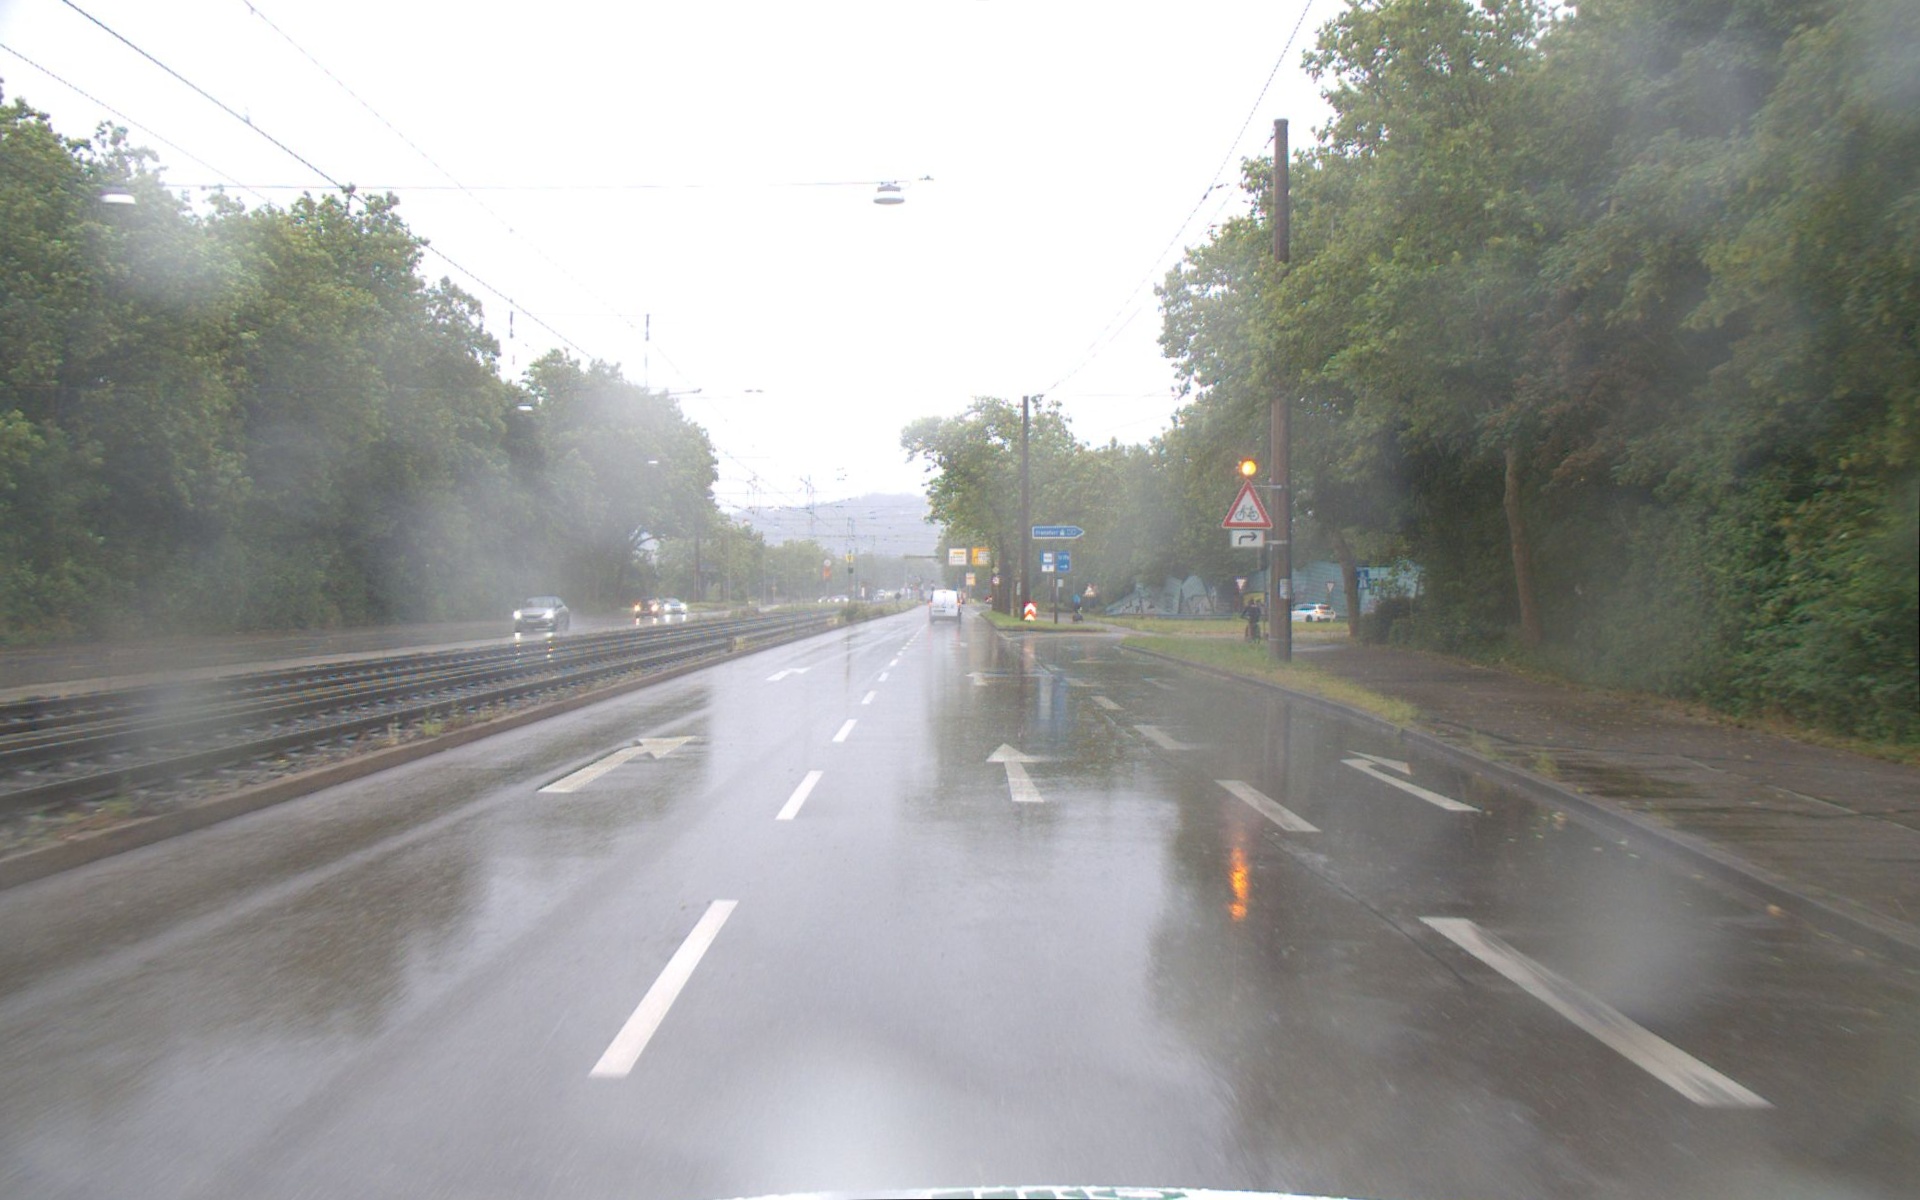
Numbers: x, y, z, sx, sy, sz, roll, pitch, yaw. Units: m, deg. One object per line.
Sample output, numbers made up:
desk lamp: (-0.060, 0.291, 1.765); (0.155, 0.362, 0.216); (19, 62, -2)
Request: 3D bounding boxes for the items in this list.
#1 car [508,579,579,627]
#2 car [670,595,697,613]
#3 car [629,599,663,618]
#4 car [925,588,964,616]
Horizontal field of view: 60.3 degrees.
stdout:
car: (-17.547, 0.112, 69.858); (1.954, 1.813, 3.999); (5, 0, -1)
car: (-24.057, 0.314, 144.000); (1.656, 1.550, 4.953); (1, 0, -2)
car: (-22.736, 0.610, 119.844); (1.736, 1.354, 4.378); (1, 0, -2)
car: (-0.824, 0.119, 89.141); (2.035, 1.445, 3.999); (0, 0, -1)
